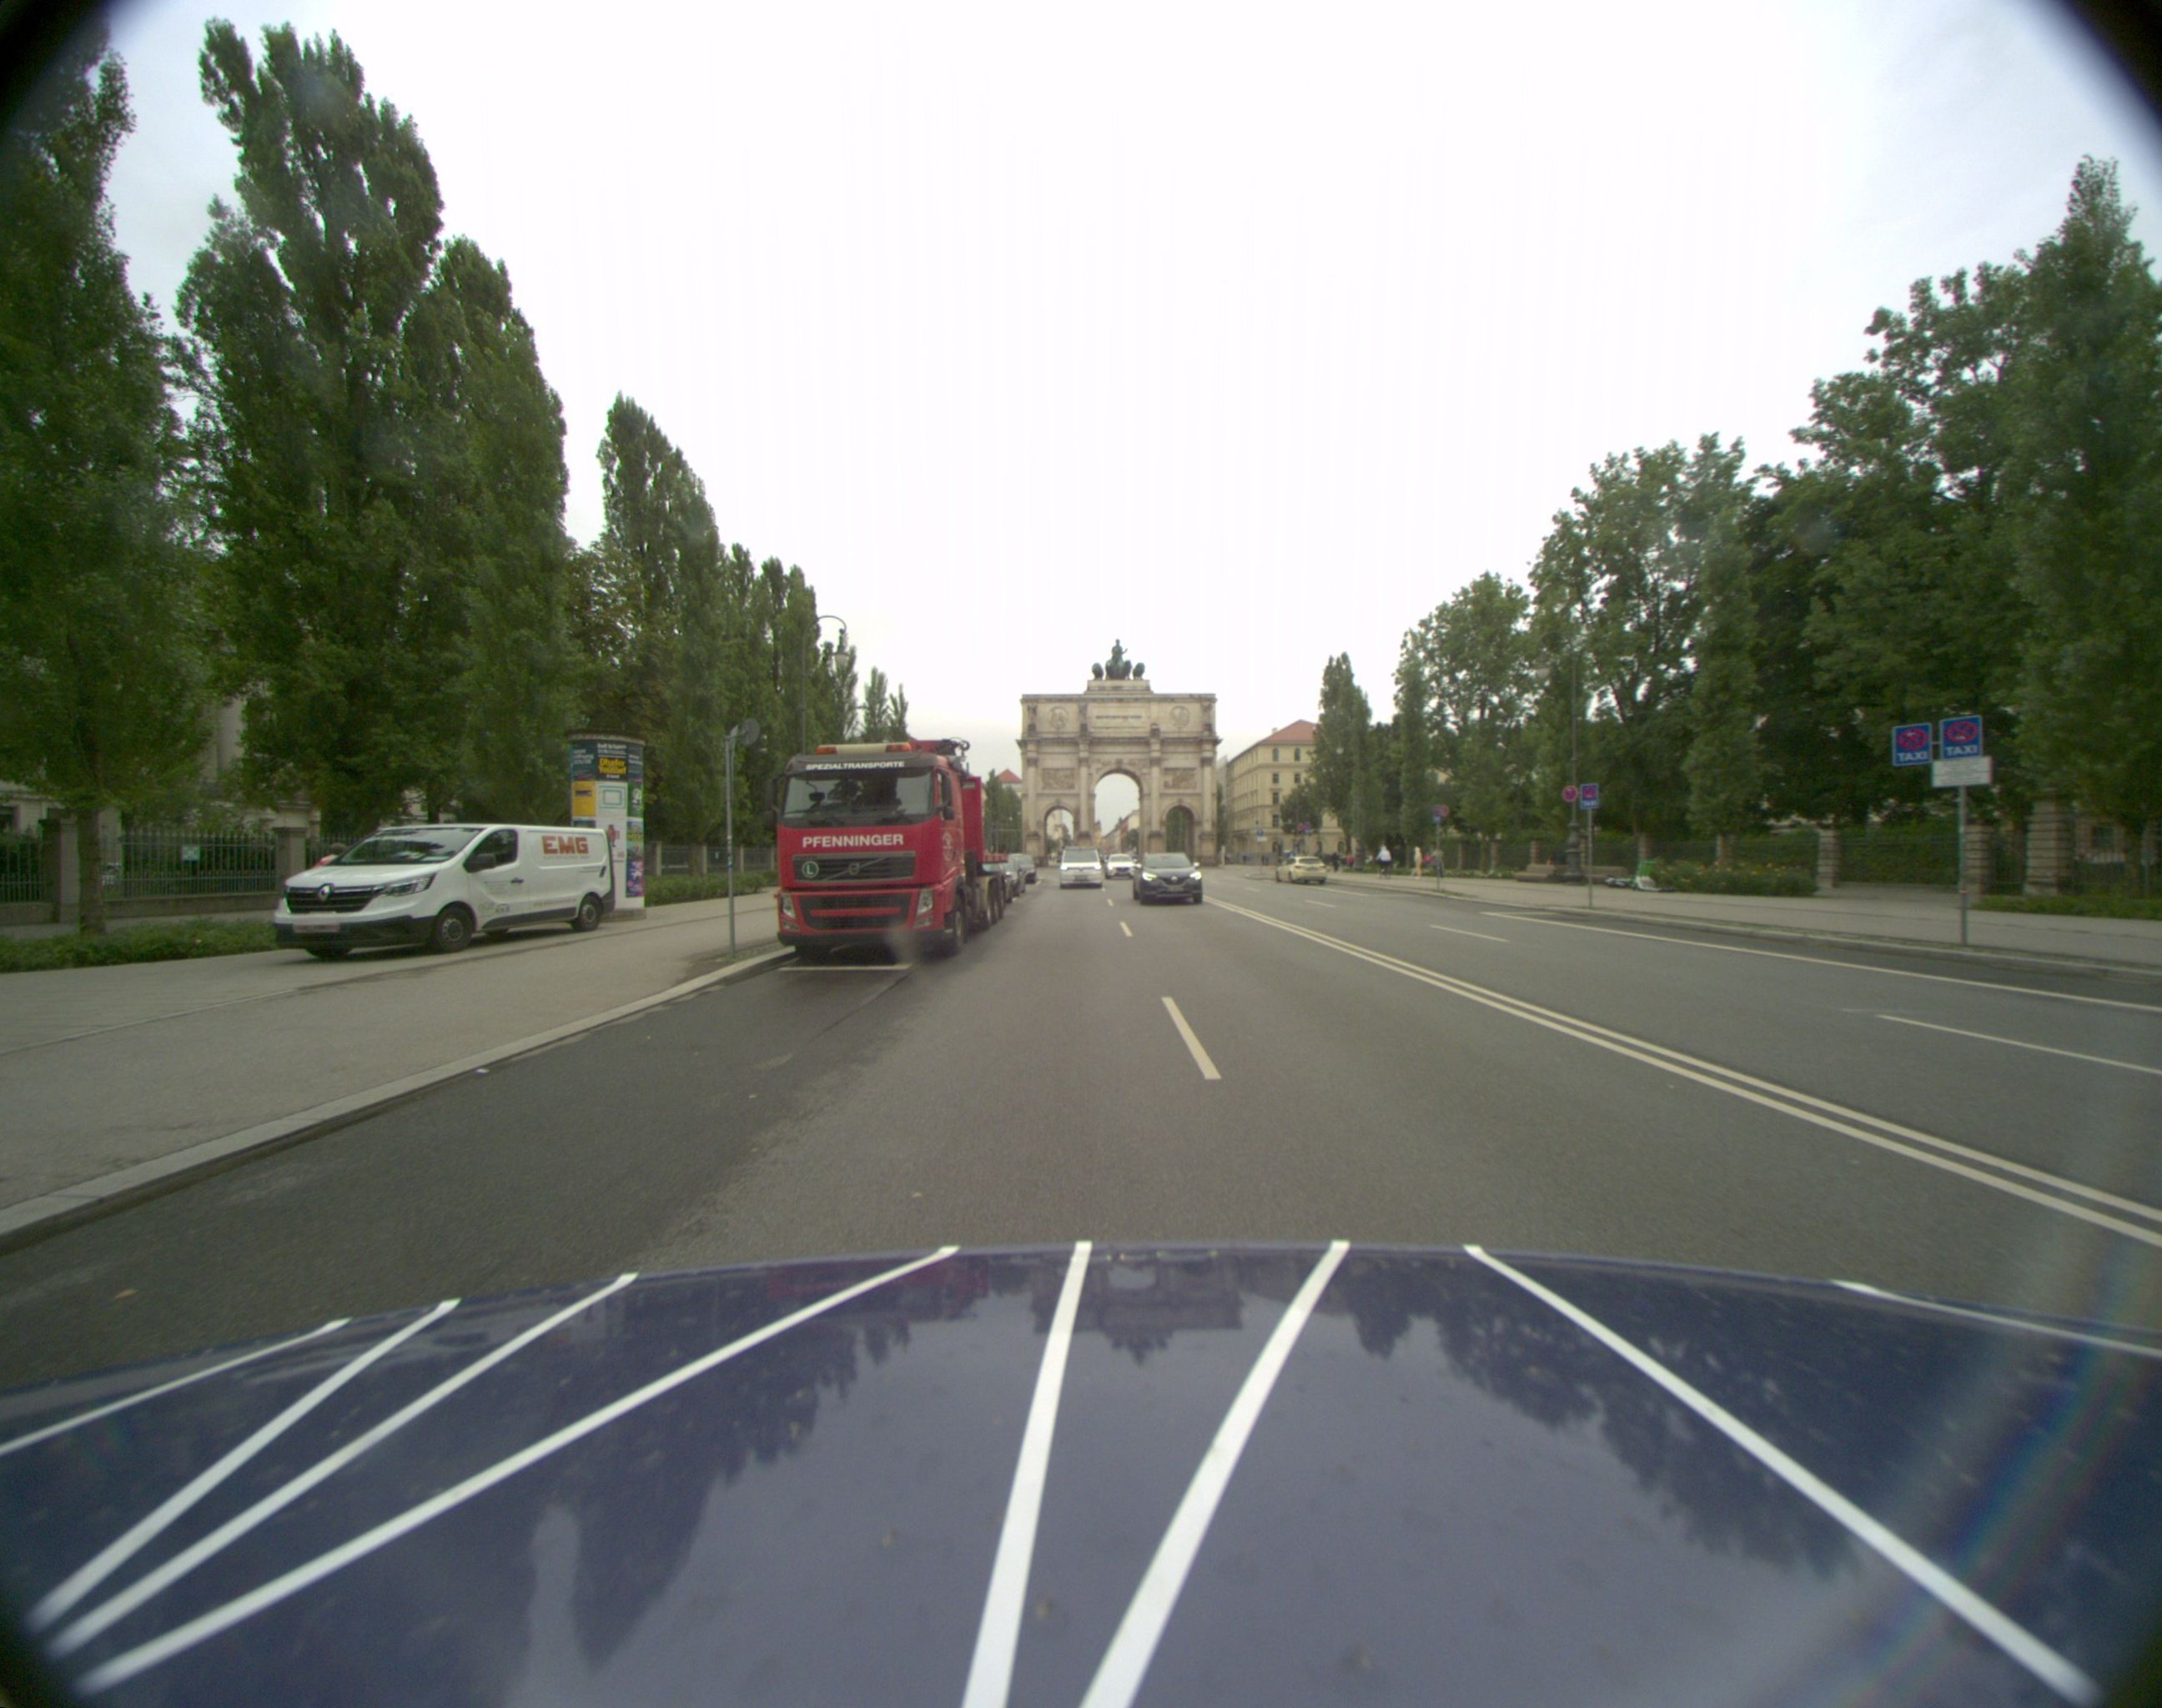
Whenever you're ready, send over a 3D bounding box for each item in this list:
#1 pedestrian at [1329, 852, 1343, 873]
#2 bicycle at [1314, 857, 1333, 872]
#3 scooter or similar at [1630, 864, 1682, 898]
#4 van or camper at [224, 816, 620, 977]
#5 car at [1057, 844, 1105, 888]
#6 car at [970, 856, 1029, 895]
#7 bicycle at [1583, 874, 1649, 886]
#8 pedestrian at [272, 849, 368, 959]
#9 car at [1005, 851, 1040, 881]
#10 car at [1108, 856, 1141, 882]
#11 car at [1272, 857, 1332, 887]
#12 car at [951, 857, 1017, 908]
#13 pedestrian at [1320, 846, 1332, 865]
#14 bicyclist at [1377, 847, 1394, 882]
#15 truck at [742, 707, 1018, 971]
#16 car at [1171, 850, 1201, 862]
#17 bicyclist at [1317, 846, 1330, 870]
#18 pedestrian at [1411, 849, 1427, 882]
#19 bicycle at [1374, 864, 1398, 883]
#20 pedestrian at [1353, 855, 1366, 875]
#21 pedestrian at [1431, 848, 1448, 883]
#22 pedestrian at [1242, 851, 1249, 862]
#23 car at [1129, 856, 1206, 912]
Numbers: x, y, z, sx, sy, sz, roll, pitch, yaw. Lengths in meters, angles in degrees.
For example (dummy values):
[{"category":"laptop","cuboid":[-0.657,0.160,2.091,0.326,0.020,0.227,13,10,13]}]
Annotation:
[{"category":"pedestrian","cuboid":[21.345,0.697,63.663,0.959,1.708,1.031,-1,1,13]},{"category":"bicycle","cuboid":[16.366,0.688,51.332,0.674,0.947,1.913,-2,0,0]},{"category":"scooter or similar","cuboid":[21.242,0.991,28.106,0.747,1.171,1.416,1,0,-4]},{"category":"van or camper","cuboid":[-9.945,0.539,12.225,2.009,2.002,4.985,-1,0,-1]},{"category":"car","cuboid":[0.073,0.505,36.135,2.064,1.916,5.728,-1,0,1]},{"category":"car","cuboid":[-3.103,0.796,29.844,1.847,1.383,4.438,0,0,0]},{"category":"bicycle","cuboid":[22.877,1.114,32.494,2.219,0.450,1.339,0,-1,-22]},{"category":"pedestrian","cuboid":[-11.976,0.763,11.978,0.718,1.684,0.755,0,1,0]},{"category":"car","cuboid":[-3.297,0.628,43.080,1.847,1.597,4.366,0,0,-4]},{"category":"car","cuboid":[2.720,0.900,46.605,1.909,1.516,4.010,0,0,4]},{"category":"car","cuboid":[11.698,0.897,40.516,1.797,1.329,4.466,0,2,-1]},{"category":"car","cuboid":[-2.945,0.825,23.686,1.565,1.460,3.652,0,0,0]},{"category":"pedestrian","cuboid":[22.059,0.137,68.454,0.958,1.708,1.032,-1,1,23]},{"category":"bicyclist","cuboid":[16.153,0.551,40.280,0.591,1.813,0.661,-2,1,-1]},{"category":"truck","cuboid":[-3.149,-0.216,15.463,2.852,3.543,10.278,-1,0,0]},{"category":"car","cuboid":[15.270,0.309,110.381,2.004,1.739,3.989,-1,0,-39]},{"category":"bicyclist","cuboid":[16.366,0.278,51.285,0.647,1.583,0.661,-2,1,-1]},{"category":"pedestrian","cuboid":[17.892,0.601,40.197,0.533,1.720,0.583,0,1,-11]},{"category":"bicycle","cuboid":[16.191,1.006,40.331,0.470,0.947,1.913,-2,0,0]},{"category":"pedestrian","cuboid":[26.475,1.002,72.163,0.990,1.860,1.031,-1,1,11]},{"category":"pedestrian","cuboid":[17.945,0.558,37.993,0.533,1.720,0.583,0,1,-11]},{"category":"pedestrian","cuboid":[25.994,0.420,120.378,1.031,1.812,0.882,0,1,8]},{"category":"car","cuboid":[2.631,0.865,24.059,1.840,1.576,4.184,-1,0,-1]}]
